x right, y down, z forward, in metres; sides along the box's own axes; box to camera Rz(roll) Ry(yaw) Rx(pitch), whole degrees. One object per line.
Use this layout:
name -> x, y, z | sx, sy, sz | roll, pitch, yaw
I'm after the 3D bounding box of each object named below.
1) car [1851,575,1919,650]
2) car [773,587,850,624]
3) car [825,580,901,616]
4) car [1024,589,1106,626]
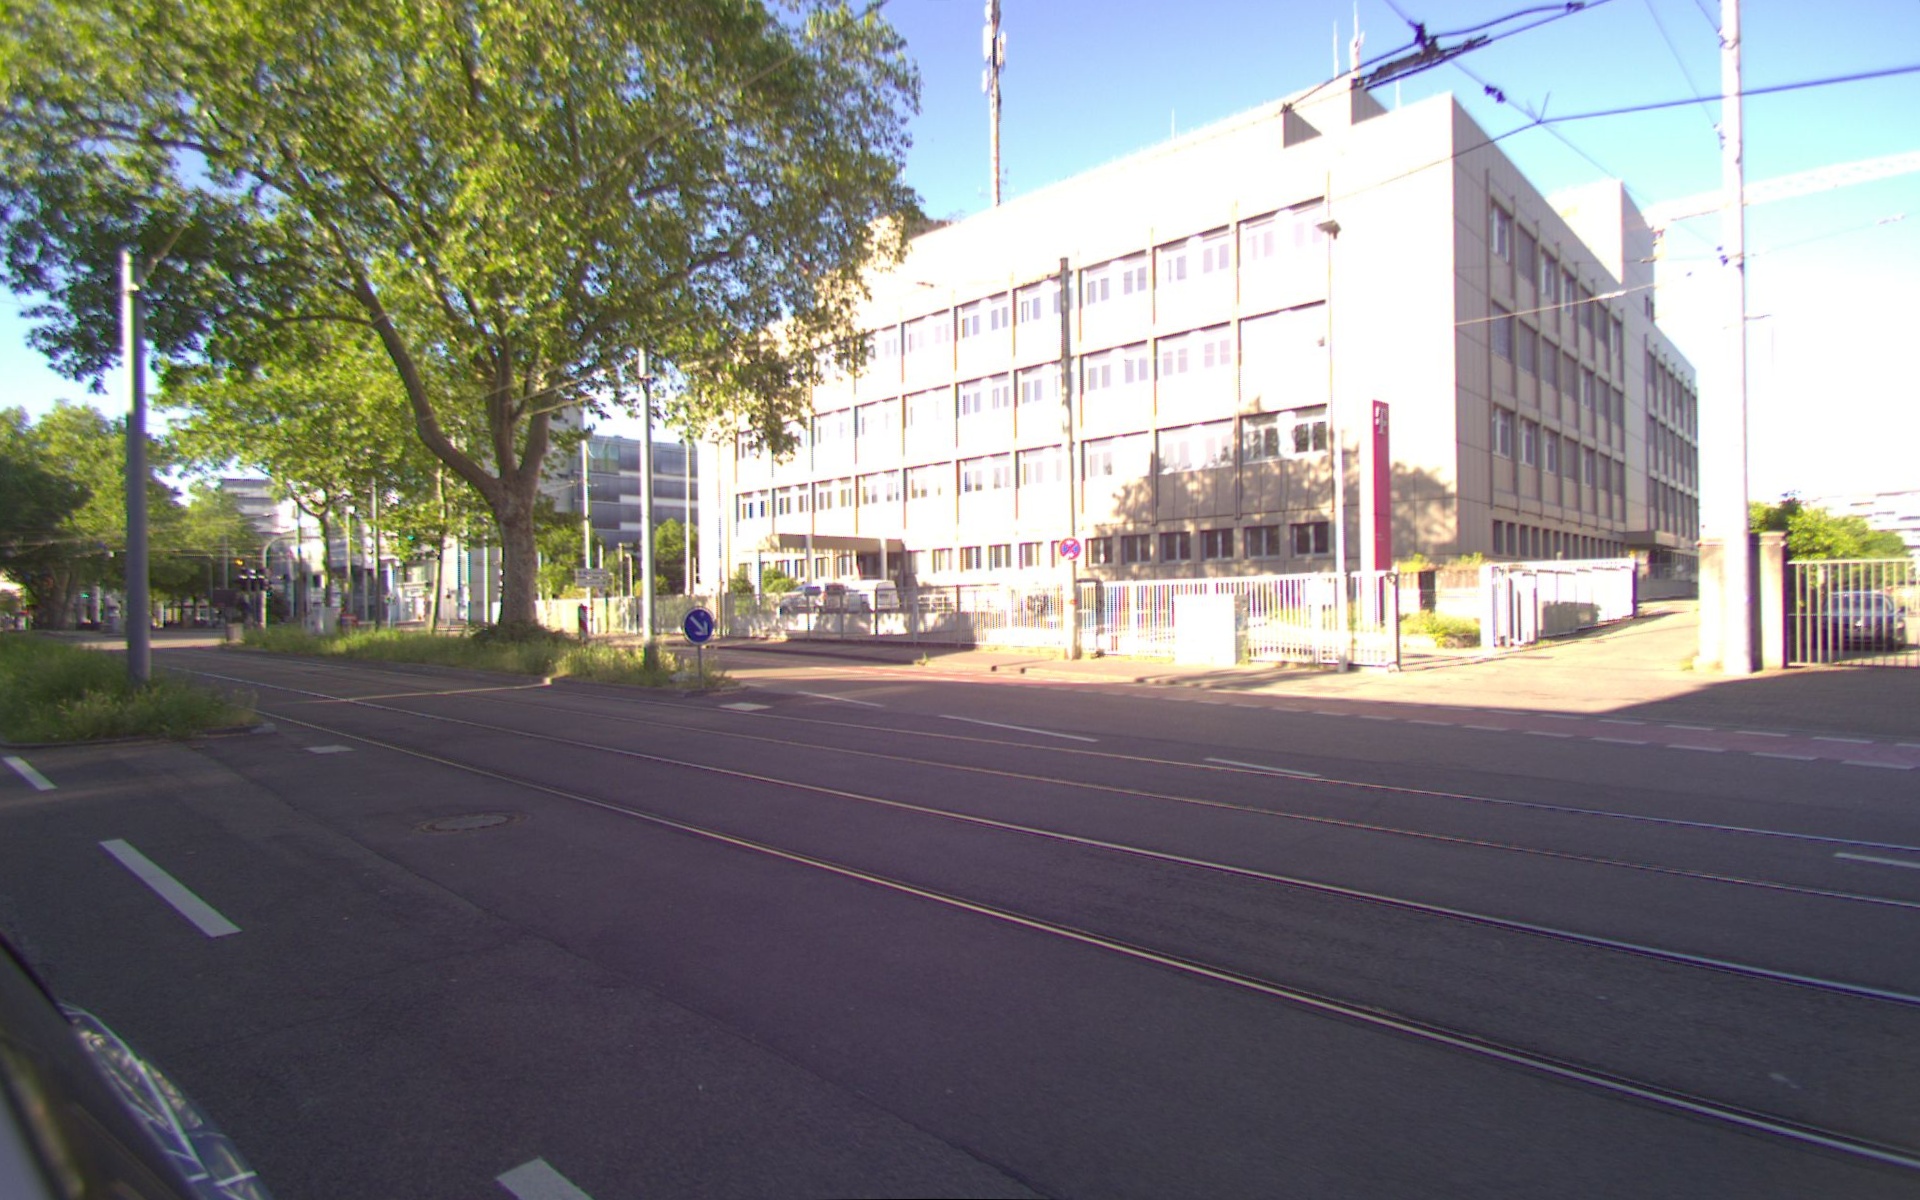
car -> 23.248, 0.261, 24.942 | 1.853, 1.732, 4.221 | -1, 0, 42
car -> -7.655, 0.300, 51.913 | 4.000, 1.831, 1.827 | -1, 0, 43
car -> -5.163, -0.096, 53.609 | 4.000, 1.765, 1.827 | -1, 0, 43
car -> 5.226, 0.339, 50.106 | 1.853, 1.732, 4.221 | -1, 0, 42
